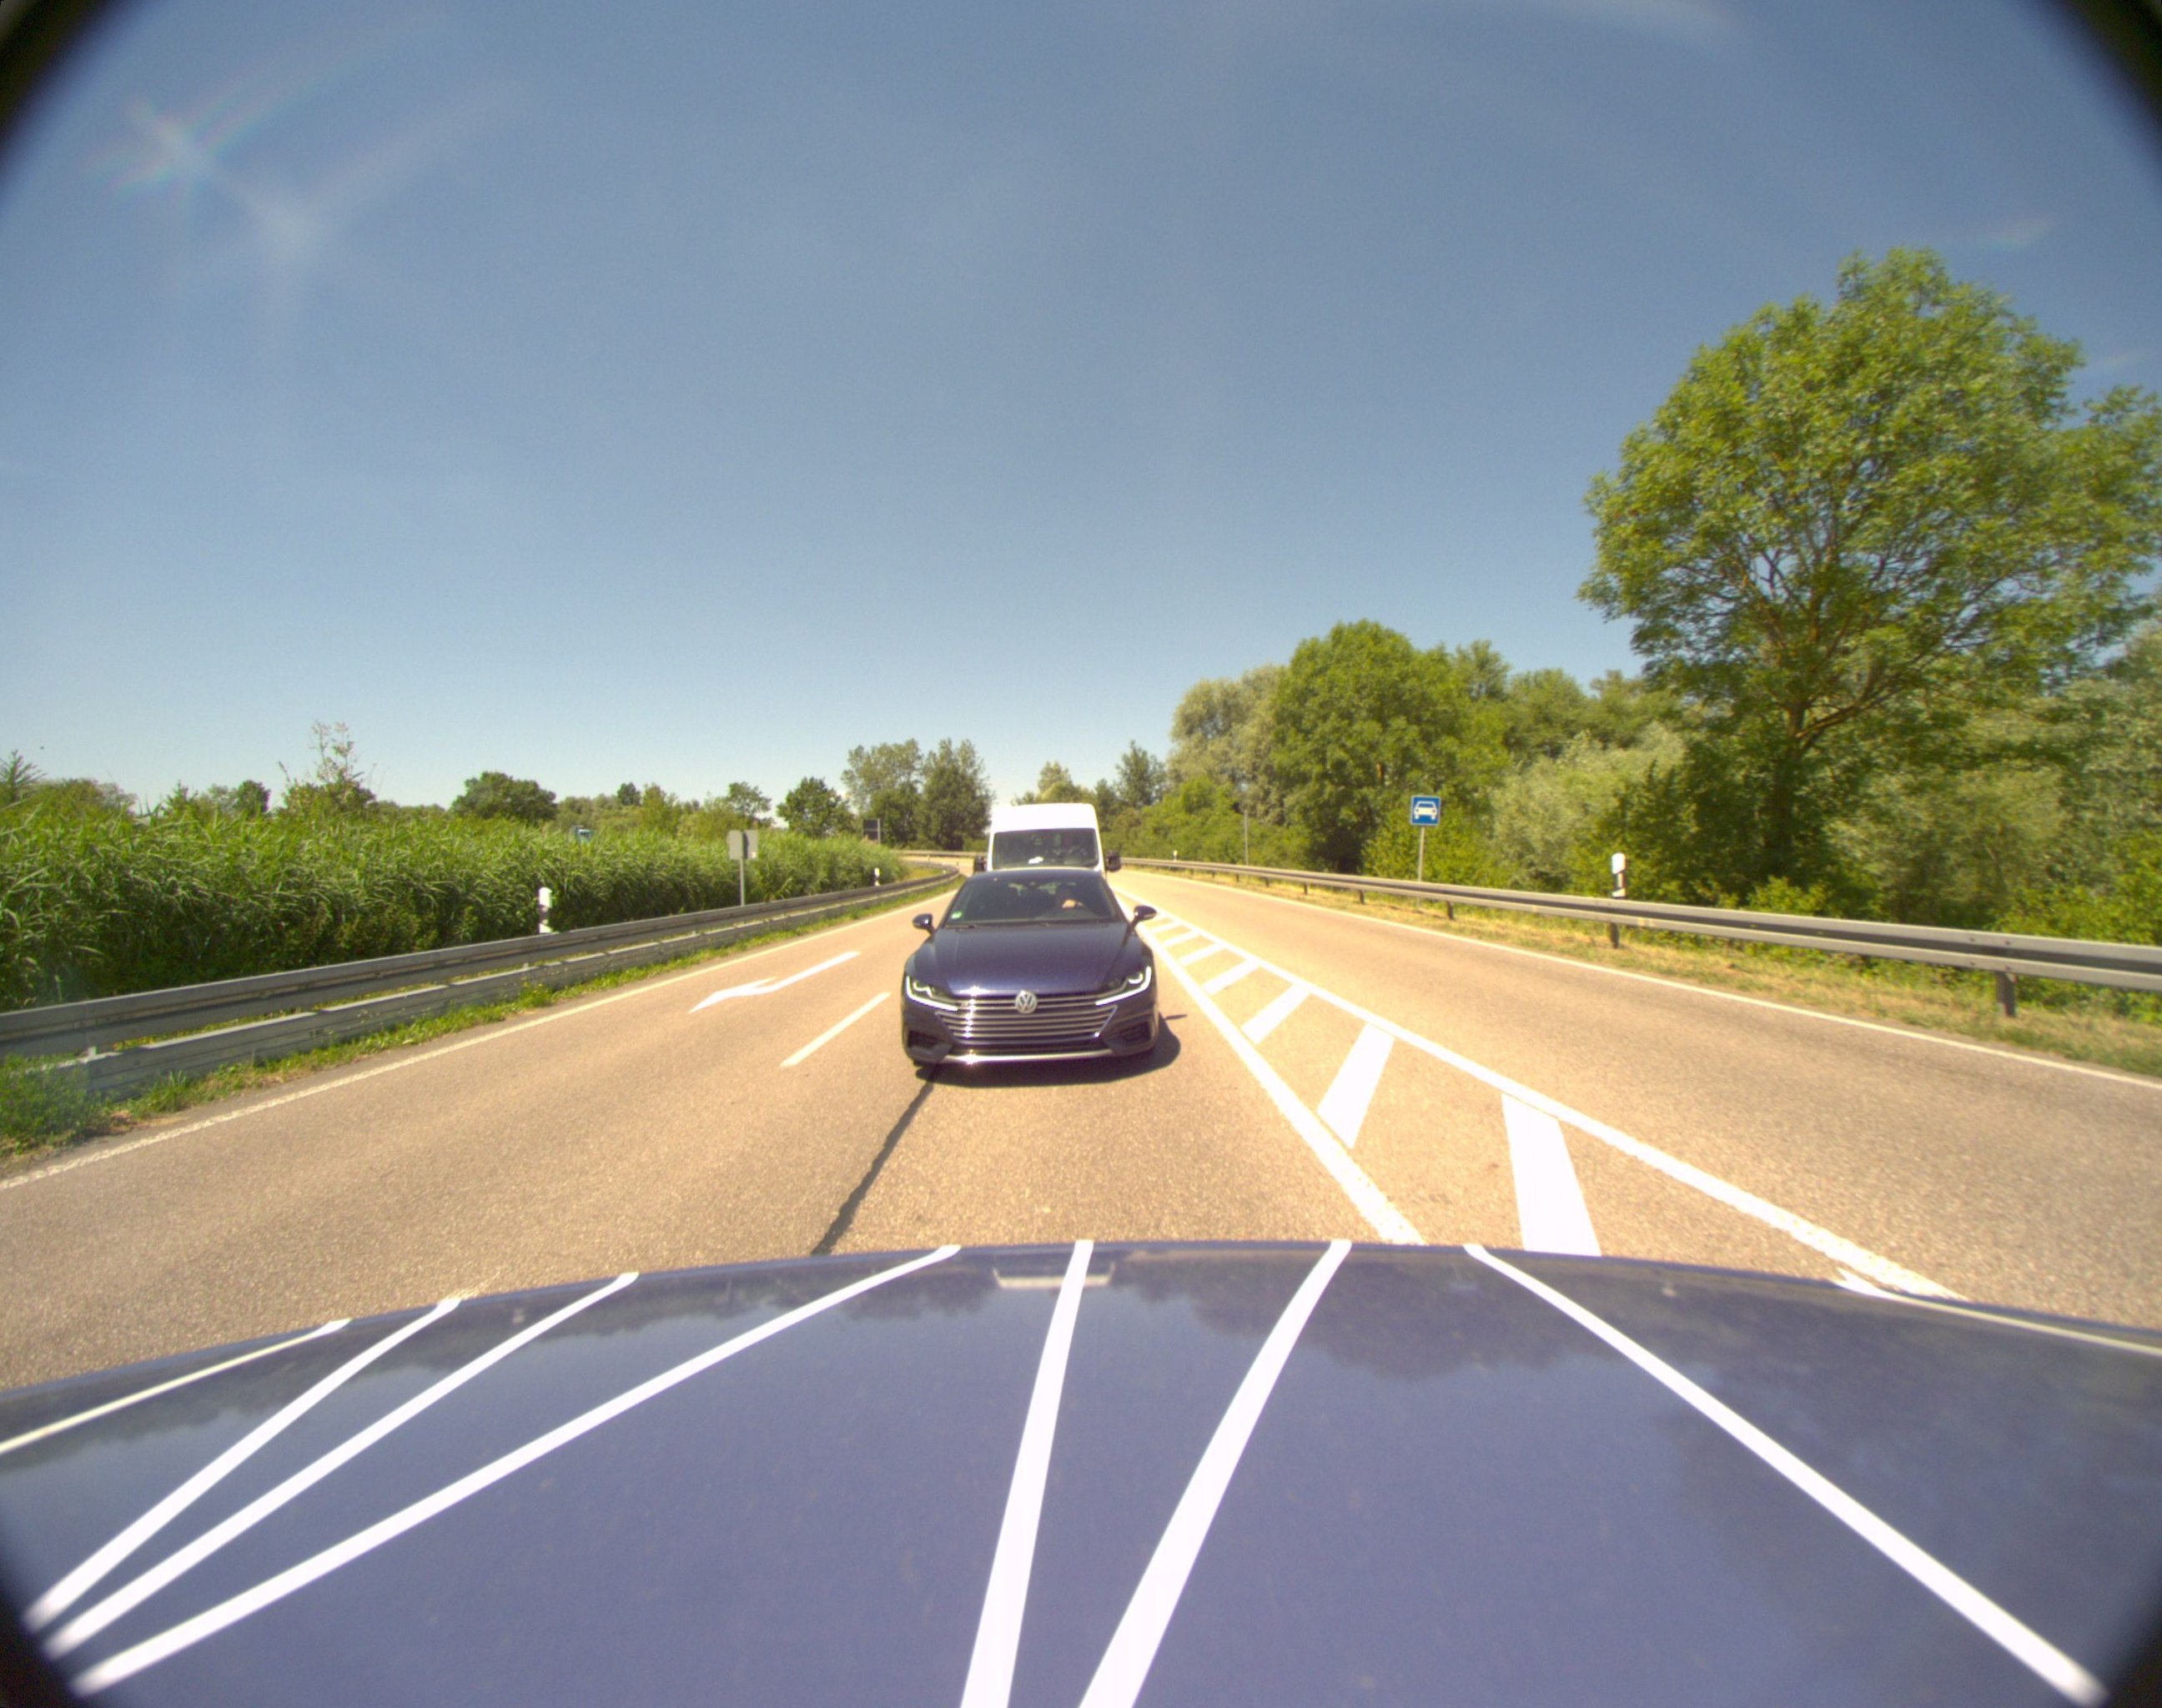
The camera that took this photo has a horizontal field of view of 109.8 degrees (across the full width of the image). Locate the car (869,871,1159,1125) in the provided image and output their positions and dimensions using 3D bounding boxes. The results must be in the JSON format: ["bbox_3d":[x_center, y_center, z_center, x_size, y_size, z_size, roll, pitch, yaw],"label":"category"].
[{"bbox_3d":[-0.406,0.944,6.746,1.761,1.401,3.999,-2,1,0],"label":"car"}]

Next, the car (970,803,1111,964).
[{"bbox_3d":[-0.598,0.415,14.423,2.059,2.376,5.826,-2,1,0],"label":"car"}]
